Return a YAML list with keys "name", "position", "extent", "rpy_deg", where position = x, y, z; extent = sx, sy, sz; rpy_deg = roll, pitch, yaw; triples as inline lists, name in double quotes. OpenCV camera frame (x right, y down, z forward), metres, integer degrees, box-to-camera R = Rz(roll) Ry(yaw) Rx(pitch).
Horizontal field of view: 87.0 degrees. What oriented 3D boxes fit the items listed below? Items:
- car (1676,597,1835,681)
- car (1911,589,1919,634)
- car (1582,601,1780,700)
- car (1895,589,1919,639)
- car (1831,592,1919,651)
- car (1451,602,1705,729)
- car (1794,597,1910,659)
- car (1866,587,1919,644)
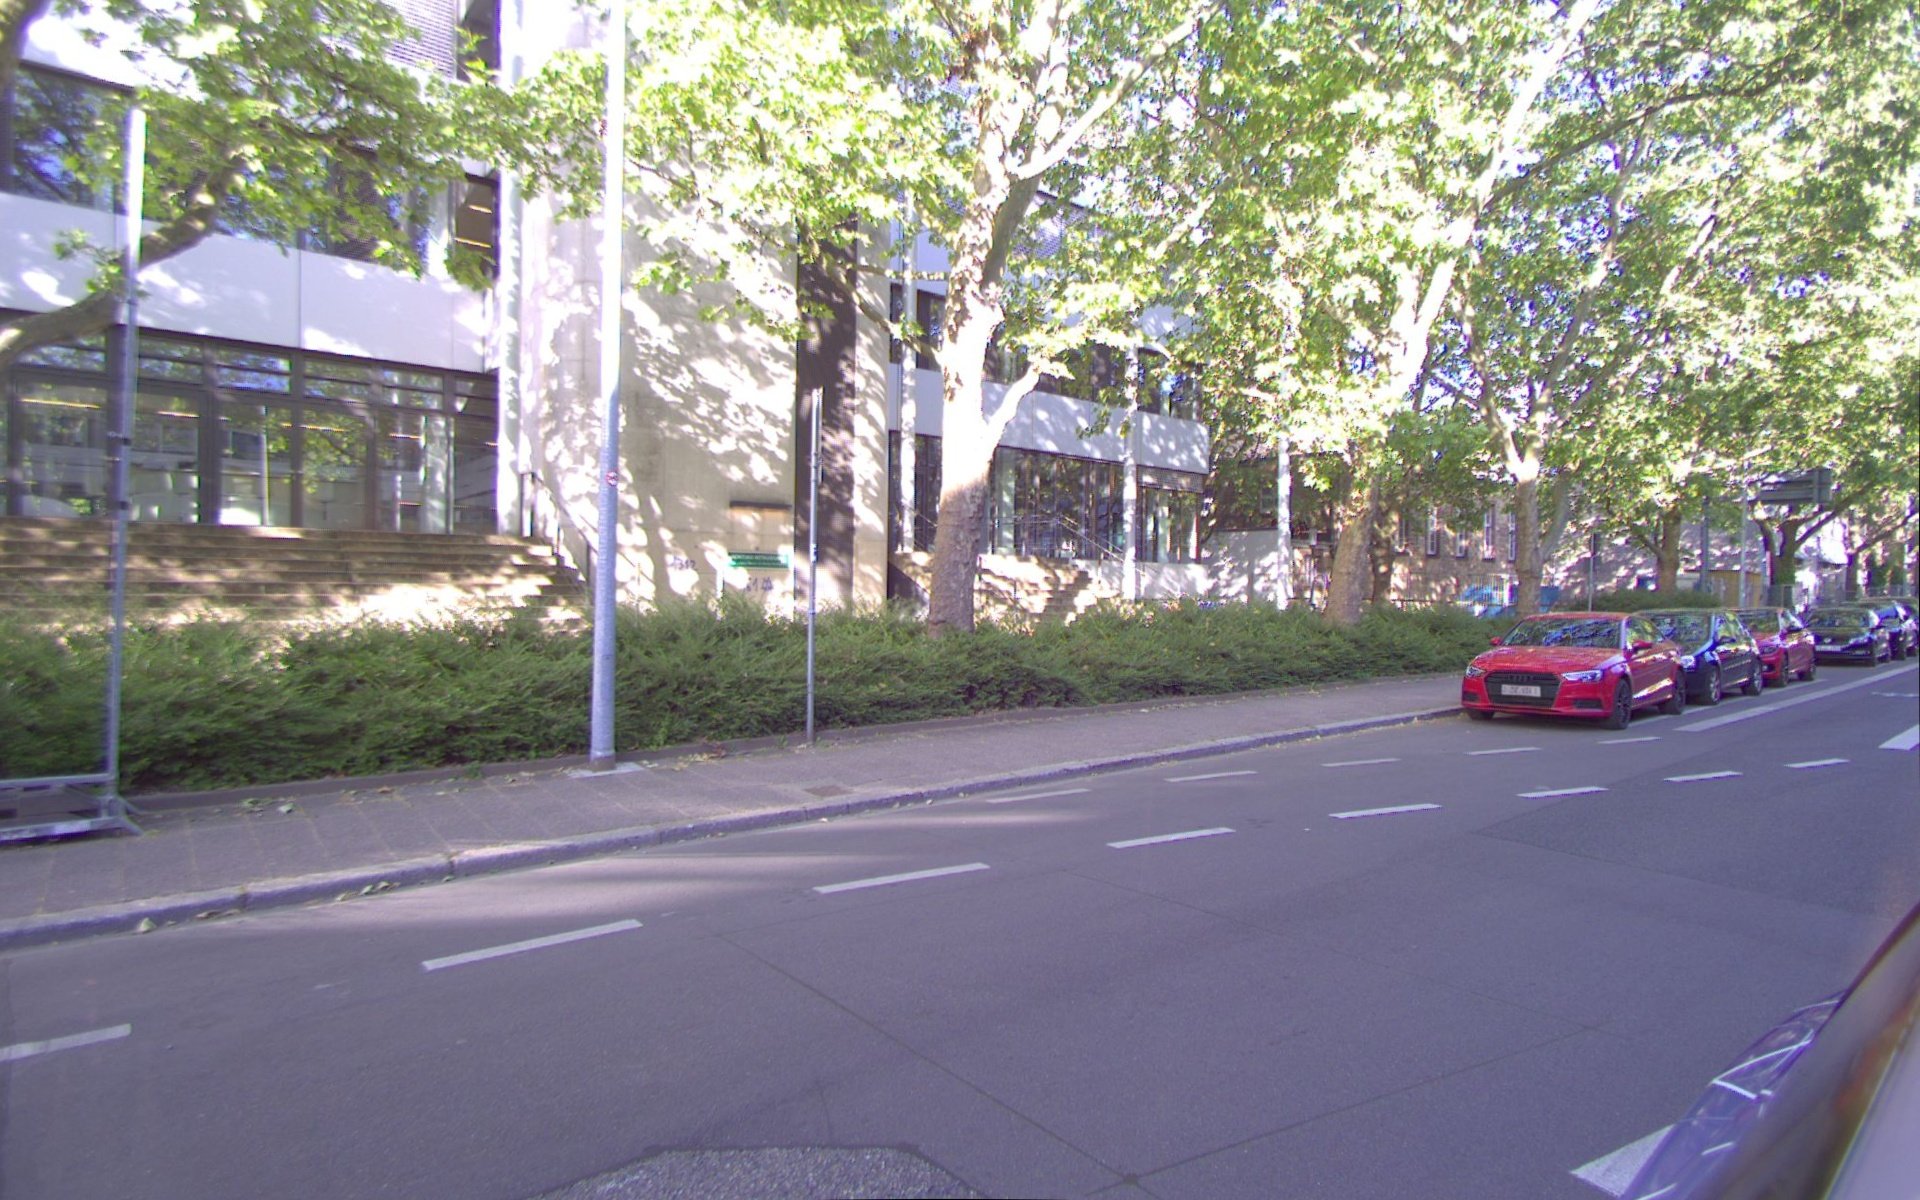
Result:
- name: "car"
  position: [15.863, 0.698, 20.112]
  extent: [4.092, 1.502, 1.815]
  rpy_deg: [0, -1, -42]
- name: "car"
  position: [39.631, 0.435, 40.406]
  extent: [4.475, 1.777, 2.040]
  rpy_deg: [0, -1, -42]
- name: "car"
  position: [11.958, 0.736, 16.691]
  extent: [4.092, 1.431, 1.815]
  rpy_deg: [0, -1, -42]
- name: "car"
  position: [35.914, 0.480, 37.255]
  extent: [4.475, 1.777, 1.788]
  rpy_deg: [0, -1, -42]
- name: "car"
  position: [26.600, 0.586, 29.137]
  extent: [4.092, 1.573, 1.788]
  rpy_deg: [0, -1, -42]
- name: "car"
  position: [8.364, 0.751, 13.551]
  extent: [4.092, 1.431, 1.815]
  rpy_deg: [0, -1, -42]
- name: "car"
  position: [23.055, 0.677, 26.105]
  extent: [4.092, 1.478, 1.788]
  rpy_deg: [0, -1, -42]
- name: "car"
  position: [31.061, 0.485, 33.019]
  extent: [4.271, 1.777, 1.788]
  rpy_deg: [0, -1, -42]
